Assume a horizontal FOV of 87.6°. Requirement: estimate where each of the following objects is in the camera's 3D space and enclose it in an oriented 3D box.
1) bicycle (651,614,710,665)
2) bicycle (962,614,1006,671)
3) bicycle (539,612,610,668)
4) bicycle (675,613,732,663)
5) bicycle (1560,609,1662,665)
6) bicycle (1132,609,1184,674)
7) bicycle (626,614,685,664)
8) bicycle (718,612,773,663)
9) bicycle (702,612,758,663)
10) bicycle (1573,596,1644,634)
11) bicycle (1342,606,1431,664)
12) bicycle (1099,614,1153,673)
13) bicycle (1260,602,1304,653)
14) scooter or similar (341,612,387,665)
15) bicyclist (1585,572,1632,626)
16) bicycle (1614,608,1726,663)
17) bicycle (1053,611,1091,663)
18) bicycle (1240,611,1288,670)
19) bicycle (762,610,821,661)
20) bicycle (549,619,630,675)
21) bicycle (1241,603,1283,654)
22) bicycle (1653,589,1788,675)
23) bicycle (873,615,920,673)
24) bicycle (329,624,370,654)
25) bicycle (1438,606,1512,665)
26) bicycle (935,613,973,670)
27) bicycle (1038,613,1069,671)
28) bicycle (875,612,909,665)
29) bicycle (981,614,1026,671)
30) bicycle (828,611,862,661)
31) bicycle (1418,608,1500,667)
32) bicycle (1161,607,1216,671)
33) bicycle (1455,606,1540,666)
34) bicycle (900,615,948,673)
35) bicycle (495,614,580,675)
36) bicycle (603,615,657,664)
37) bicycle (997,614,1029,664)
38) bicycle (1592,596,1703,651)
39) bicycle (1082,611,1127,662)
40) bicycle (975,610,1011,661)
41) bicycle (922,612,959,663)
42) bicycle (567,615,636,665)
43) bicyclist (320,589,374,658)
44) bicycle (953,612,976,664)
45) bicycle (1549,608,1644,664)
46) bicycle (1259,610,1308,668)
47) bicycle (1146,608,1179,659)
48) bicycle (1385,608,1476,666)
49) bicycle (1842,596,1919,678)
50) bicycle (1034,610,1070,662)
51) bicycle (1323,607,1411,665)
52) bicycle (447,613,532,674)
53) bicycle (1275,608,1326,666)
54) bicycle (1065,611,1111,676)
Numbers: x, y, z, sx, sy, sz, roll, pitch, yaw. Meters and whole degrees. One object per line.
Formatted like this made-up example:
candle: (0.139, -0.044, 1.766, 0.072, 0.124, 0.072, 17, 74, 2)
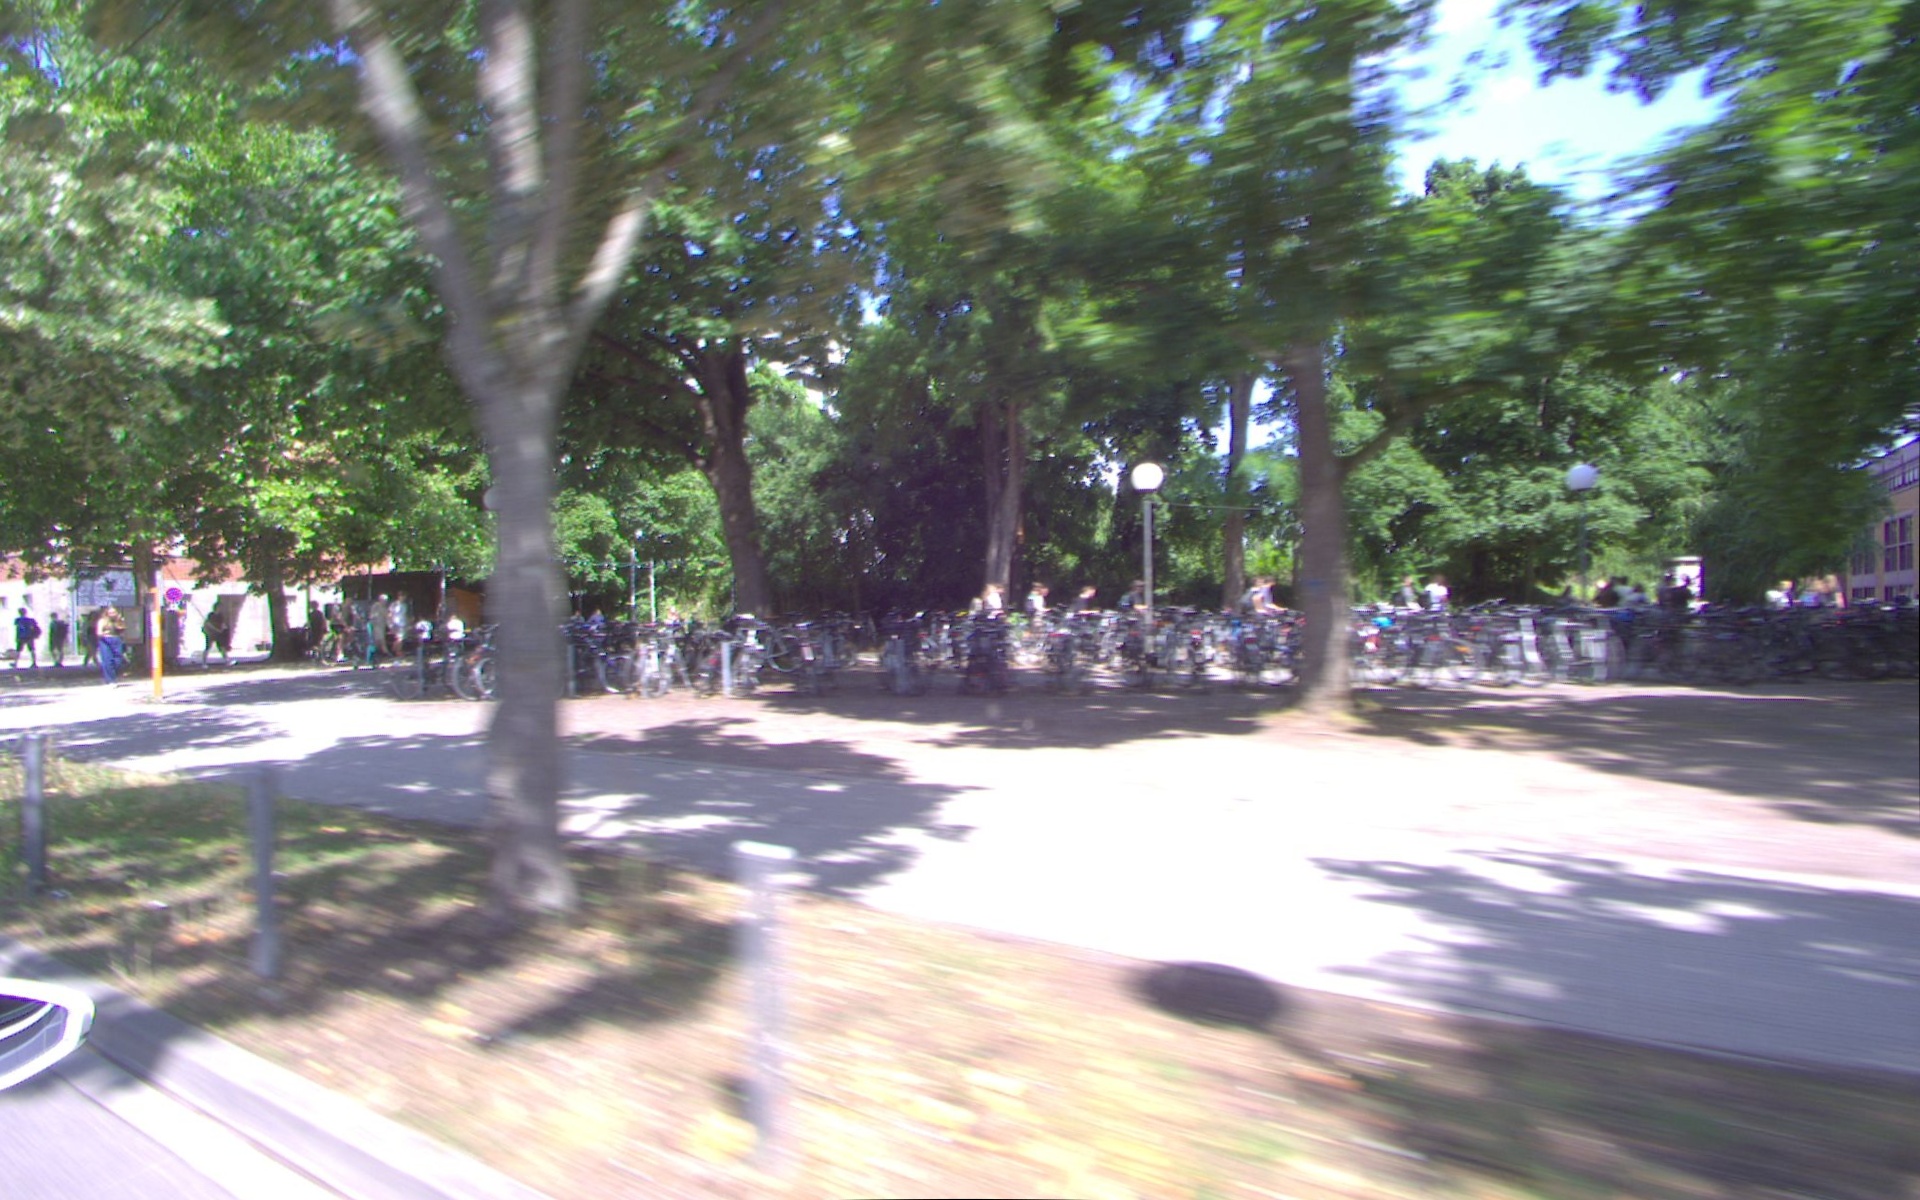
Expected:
bicycle: (-6.046, 0.836, 21.755, 0.413, 0.992, 1.902, -1, 1, 11)
bicycle: (0.436, 0.777, 19.011, 0.469, 0.992, 1.902, -2, 1, -9)
bicycle: (-8.723, 0.882, 22.744, 0.470, 1.158, 1.901, -1, 1, 13)
bicycle: (-5.570, 0.802, 21.834, 0.413, 0.992, 1.902, -1, 1, 11)
bicycle: (12.545, 0.680, 19.359, 0.469, 0.992, 1.902, -2, 1, -10)
bicycle: (3.670, 0.747, 18.686, 0.469, 1.097, 1.903, -2, 1, -3)
bicycle: (-6.681, 0.842, 22.055, 0.469, 0.992, 1.903, -1, 1, 8)
bicycle: (-4.580, 0.775, 21.482, 0.469, 0.992, 1.902, -1, 1, 9)
bicycle: (-4.936, 0.785, 21.588, 0.469, 0.992, 1.902, -1, 1, 9)
bicycle: (17.962, 0.407, 27.761, 1.720, 0.944, 0.585, -2, 3, -10)
bicycle: (7.851, 0.614, 18.521, 0.372, 0.992, 1.900, -2, 1, -17)
bicycle: (3.069, 0.781, 18.687, 0.469, 0.992, 1.903, -2, 1, -6)
bicycle: (6.707, 0.555, 20.941, 0.371, 0.992, 1.903, -1, 1, 3)
scooter or similar: (-14.279, 0.929, 23.978, 1.276, 1.235, 0.423, -2, 0, 33)
bicyclist: (17.960, -0.039, 27.740, 0.788, 1.466, 0.744, -1, 1, -10)
bicycle: (13.803, 0.674, 19.531, 0.470, 0.992, 1.900, -2, 1, -16)
bicycle: (2.315, 0.749, 20.882, 0.371, 0.992, 1.903, -2, 1, -6)
bicycle: (5.602, 0.717, 18.513, 0.371, 0.992, 1.903, -1, 1, 3)
bicycle: (-3.599, 0.747, 21.502, 0.601, 0.992, 1.902, -1, 1, 11)
bicycle: (-7.378, 0.921, 20.042, 0.601, 0.992, 1.902, -1, 1, 11)
bicycle: (6.301, 0.573, 20.958, 0.371, 0.992, 1.903, -1, 1, 3)
bicycle: (11.061, 0.438, 14.643, 0.406, 1.186, 1.844, -1, 0, -6)
bicycle: (-1.215, 0.793, 18.796, 0.470, 0.992, 1.900, -2, 1, -16)
bicycle: (-24.166, 1.532, 39.647, 1.998, 1.155, 0.572, -1, 0, 33)
bicycle: (9.733, 0.645, 18.974, 0.288, 1.036, 1.742, -2, 1, -8)
bicycle: (-0.135, 0.763, 19.155, 0.469, 0.992, 1.902, -2, 1, -8)
bicycle: (1.742, 0.760, 18.786, 0.469, 0.992, 1.903, -1, 1, 3)
bicycle: (-1.407, 0.782, 20.984, 0.469, 0.992, 1.903, -1, 1, 3)
bicycle: (0.809, 0.789, 19.179, 0.469, 0.992, 1.902, -2, 1, -9)
bicycle: (-2.475, 0.761, 21.697, 0.526, 0.992, 1.903, -2, 1, -1)
bicycle: (9.378, 0.679, 18.881, 0.469, 1.036, 1.742, -2, 1, -8)
bicycle: (4.249, 0.699, 18.765, 0.469, 1.097, 1.903, -2, 1, -3)
bicycle: (10.053, 0.643, 18.789, 0.469, 1.036, 1.742, -2, 1, -8)
bicycle: (-0.707, 0.814, 19.087, 0.470, 0.992, 1.900, -2, 1, -16)
bicycle: (-8.539, 0.876, 20.321, 0.601, 1.133, 1.902, -1, 1, 11)
bicycle: (-7.300, 0.852, 22.234, 0.413, 0.992, 1.903, -1, 1, 5)
bicycle: (1.114, 0.808, 21.366, 0.371, 0.992, 1.903, -2, 1, -6)
bicycle: (13.284, 0.429, 19.407, 0.470, 0.992, 1.900, -2, 1, -16)
bicycle: (3.030, 0.742, 21.131, 0.469, 0.992, 1.903, -2, 1, -6)
bicycle: (0.681, 0.733, 21.203, 0.469, 0.992, 1.903, -2, 1, -6)
bicycle: (-0.394, 0.780, 21.301, 0.434, 0.992, 1.902, -1, 1, 9)
bicycle: (-7.944, 0.869, 22.284, 0.470, 0.992, 1.901, -1, 1, 13)
bicyclist: (-15.847, 0.596, 25.911, 1.058, 1.753, 0.530, -1, 2, 12)
bicycle: (0.101, 0.784, 21.254, 0.300, 0.992, 1.884, -1, 1, 5)
bicycle: (12.112, 0.659, 19.123, 0.469, 0.992, 1.903, -2, 1, -5)
bicycle: (5.999, 0.699, 18.645, 0.371, 0.992, 1.903, -1, 1, 3)
bicycle: (4.266, 0.680, 21.146, 0.371, 0.992, 1.903, -1, 1, 3)
bicycle: (8.692, 0.662, 18.574, 0.372, 0.992, 1.900, -2, 1, -15)
bicycle: (14.167, 0.540, 14.887, 0.428, 1.186, 1.845, -1, 0, -3)
bicycle: (1.904, 0.728, 20.904, 0.371, 0.992, 1.903, -2, 1, -6)
bicycle: (7.431, 0.633, 18.384, 0.372, 0.992, 1.900, -2, 1, -17)
bicycle: (-9.642, 0.875, 20.612, 0.601, 1.133, 1.807, -1, 1, 11)
bicycle: (6.348, 0.665, 18.752, 0.371, 0.992, 1.903, -1, 1, 3)
bicycle: (2.362, 0.784, 18.634, 0.469, 1.097, 1.903, -2, 1, -3)
